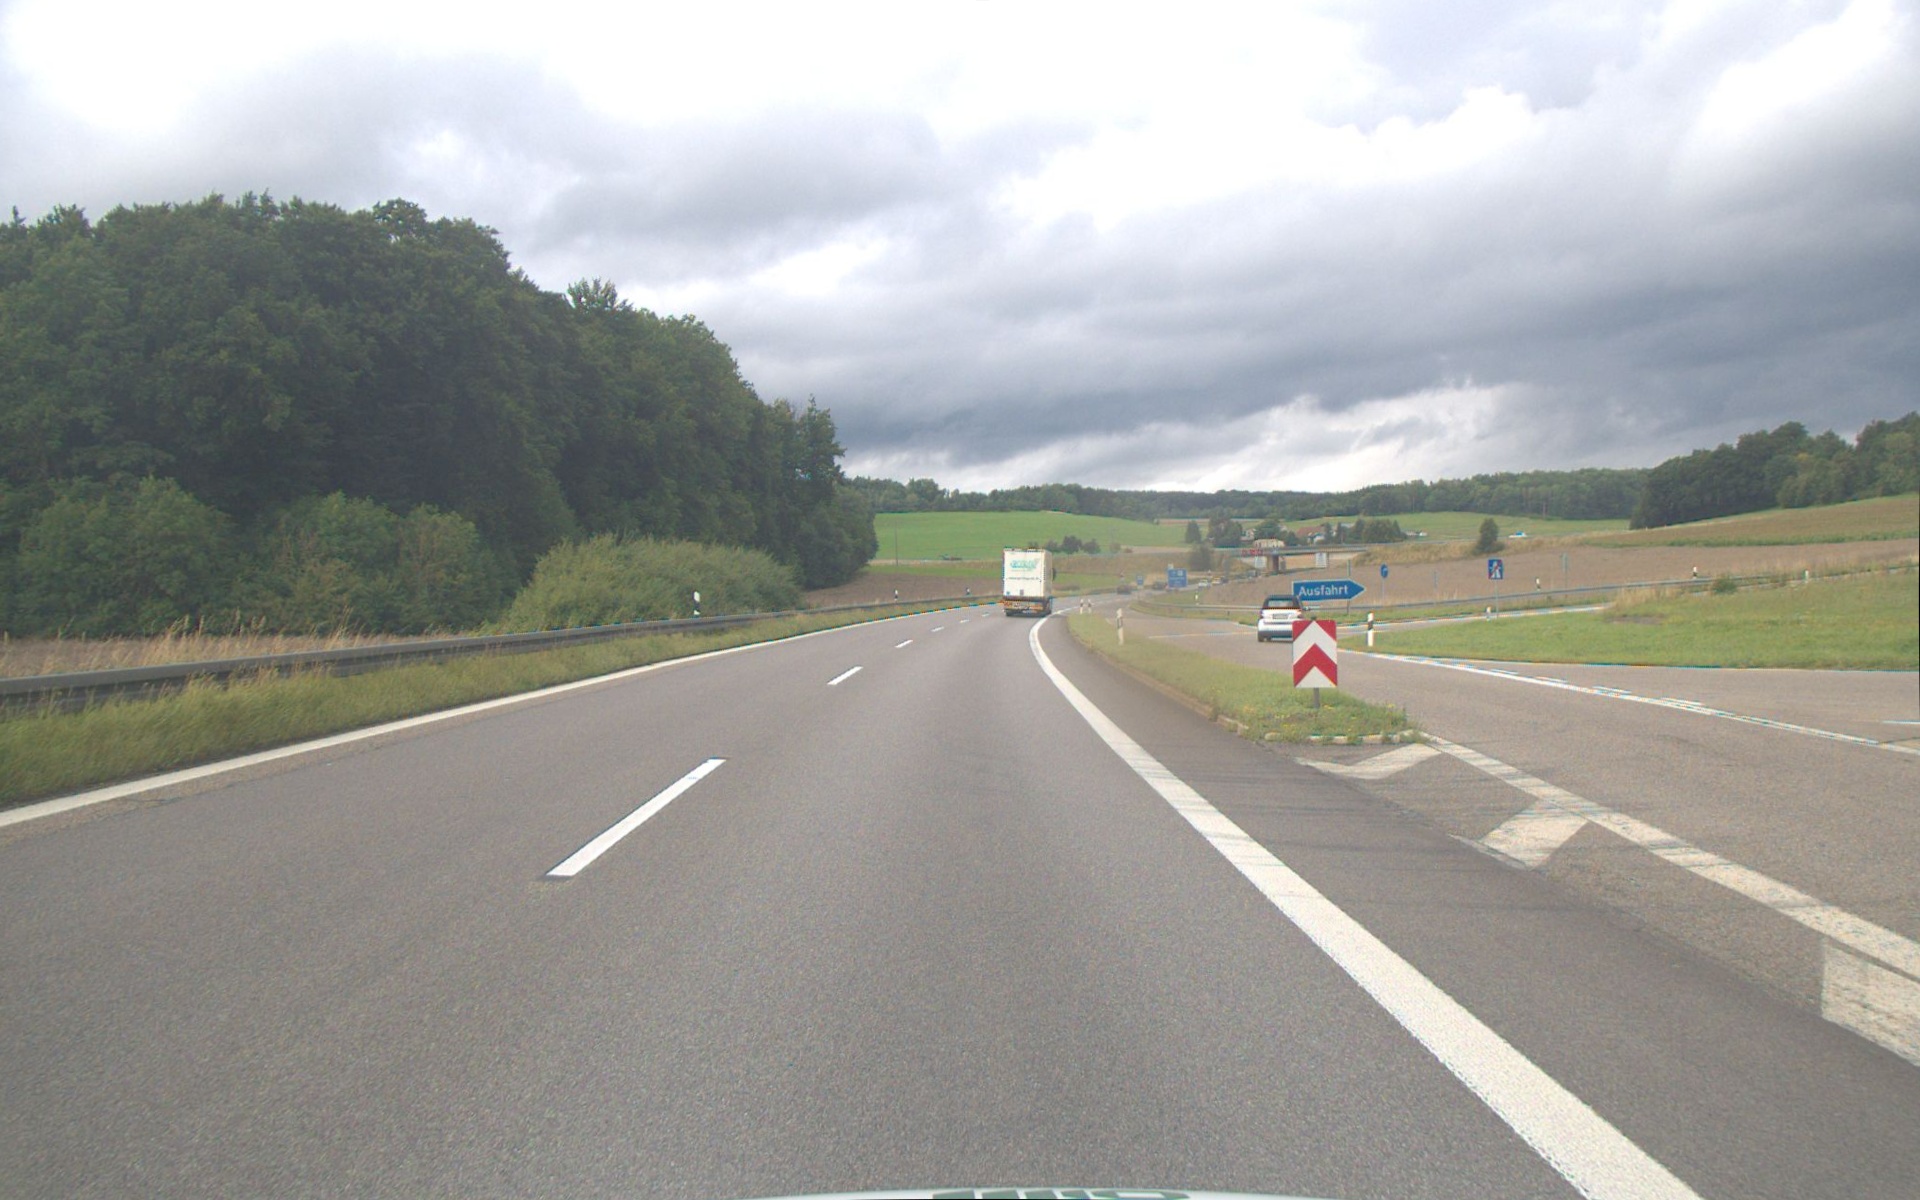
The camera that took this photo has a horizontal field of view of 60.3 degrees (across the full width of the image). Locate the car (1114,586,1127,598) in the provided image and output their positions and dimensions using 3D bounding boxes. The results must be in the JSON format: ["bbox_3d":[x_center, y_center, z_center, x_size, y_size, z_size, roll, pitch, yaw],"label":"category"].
[{"bbox_3d":[24.973,-1.266,256.626,1.862,1.827,4.003,0,-1,8],"label":"car"}]

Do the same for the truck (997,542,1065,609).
[{"bbox_3d":[4.850,-1.611,110.683,3.707,4.203,8.271,2,1,7],"label":"truck"}]

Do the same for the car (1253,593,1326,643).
[{"bbox_3d":[11.274,0.594,56.366,1.741,1.579,4.000,-1,1,22],"label":"car"}]

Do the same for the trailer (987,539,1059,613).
[{"bbox_3d":[4.094,-1.511,103.775,3.725,4.247,14.818,1,1,5],"label":"trailer"}]
